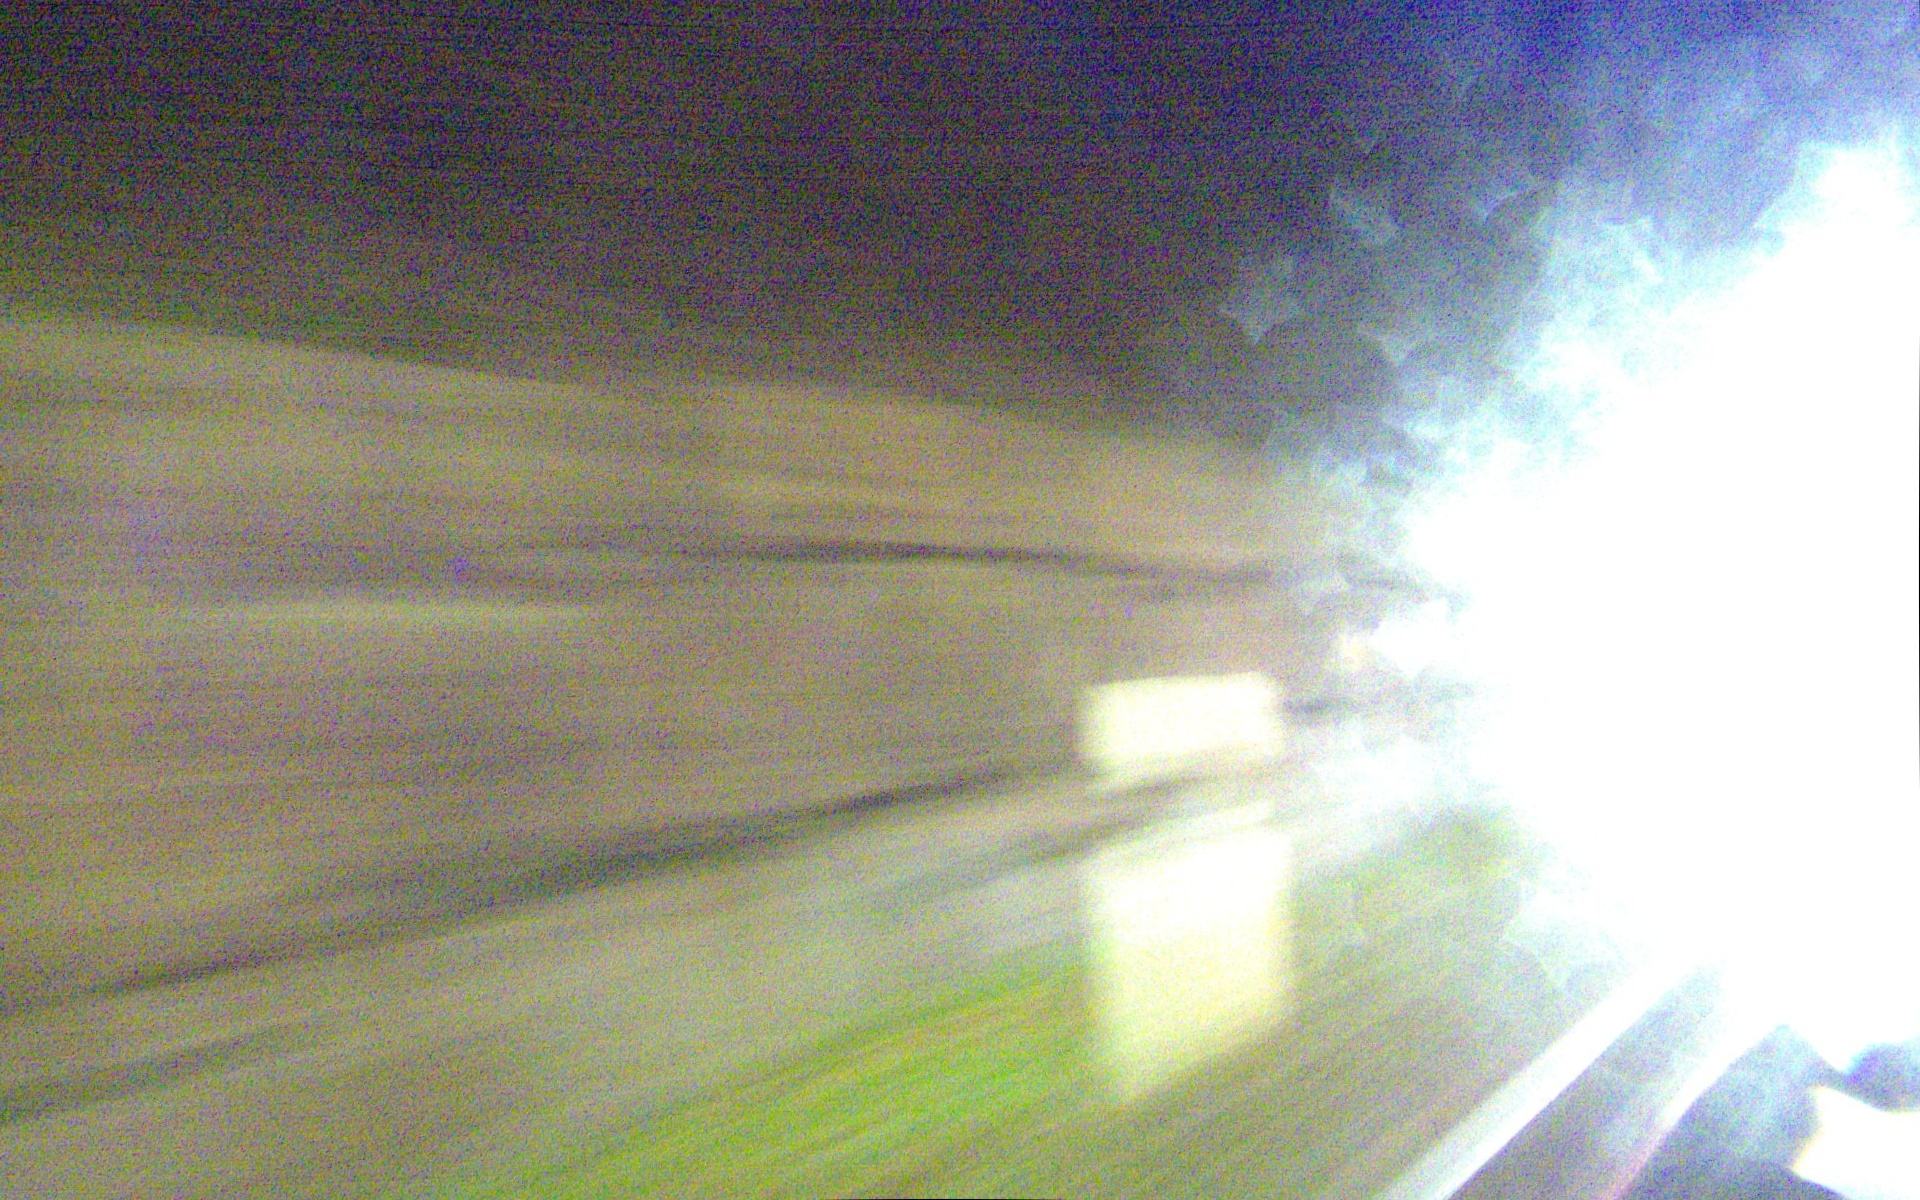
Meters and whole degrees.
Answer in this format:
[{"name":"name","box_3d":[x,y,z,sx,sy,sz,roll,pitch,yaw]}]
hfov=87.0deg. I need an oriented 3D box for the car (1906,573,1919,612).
[{"name":"car","box_3d":[51.972,-0.390,53.983,1.991,2.039,3.942,1,1,40]}]
